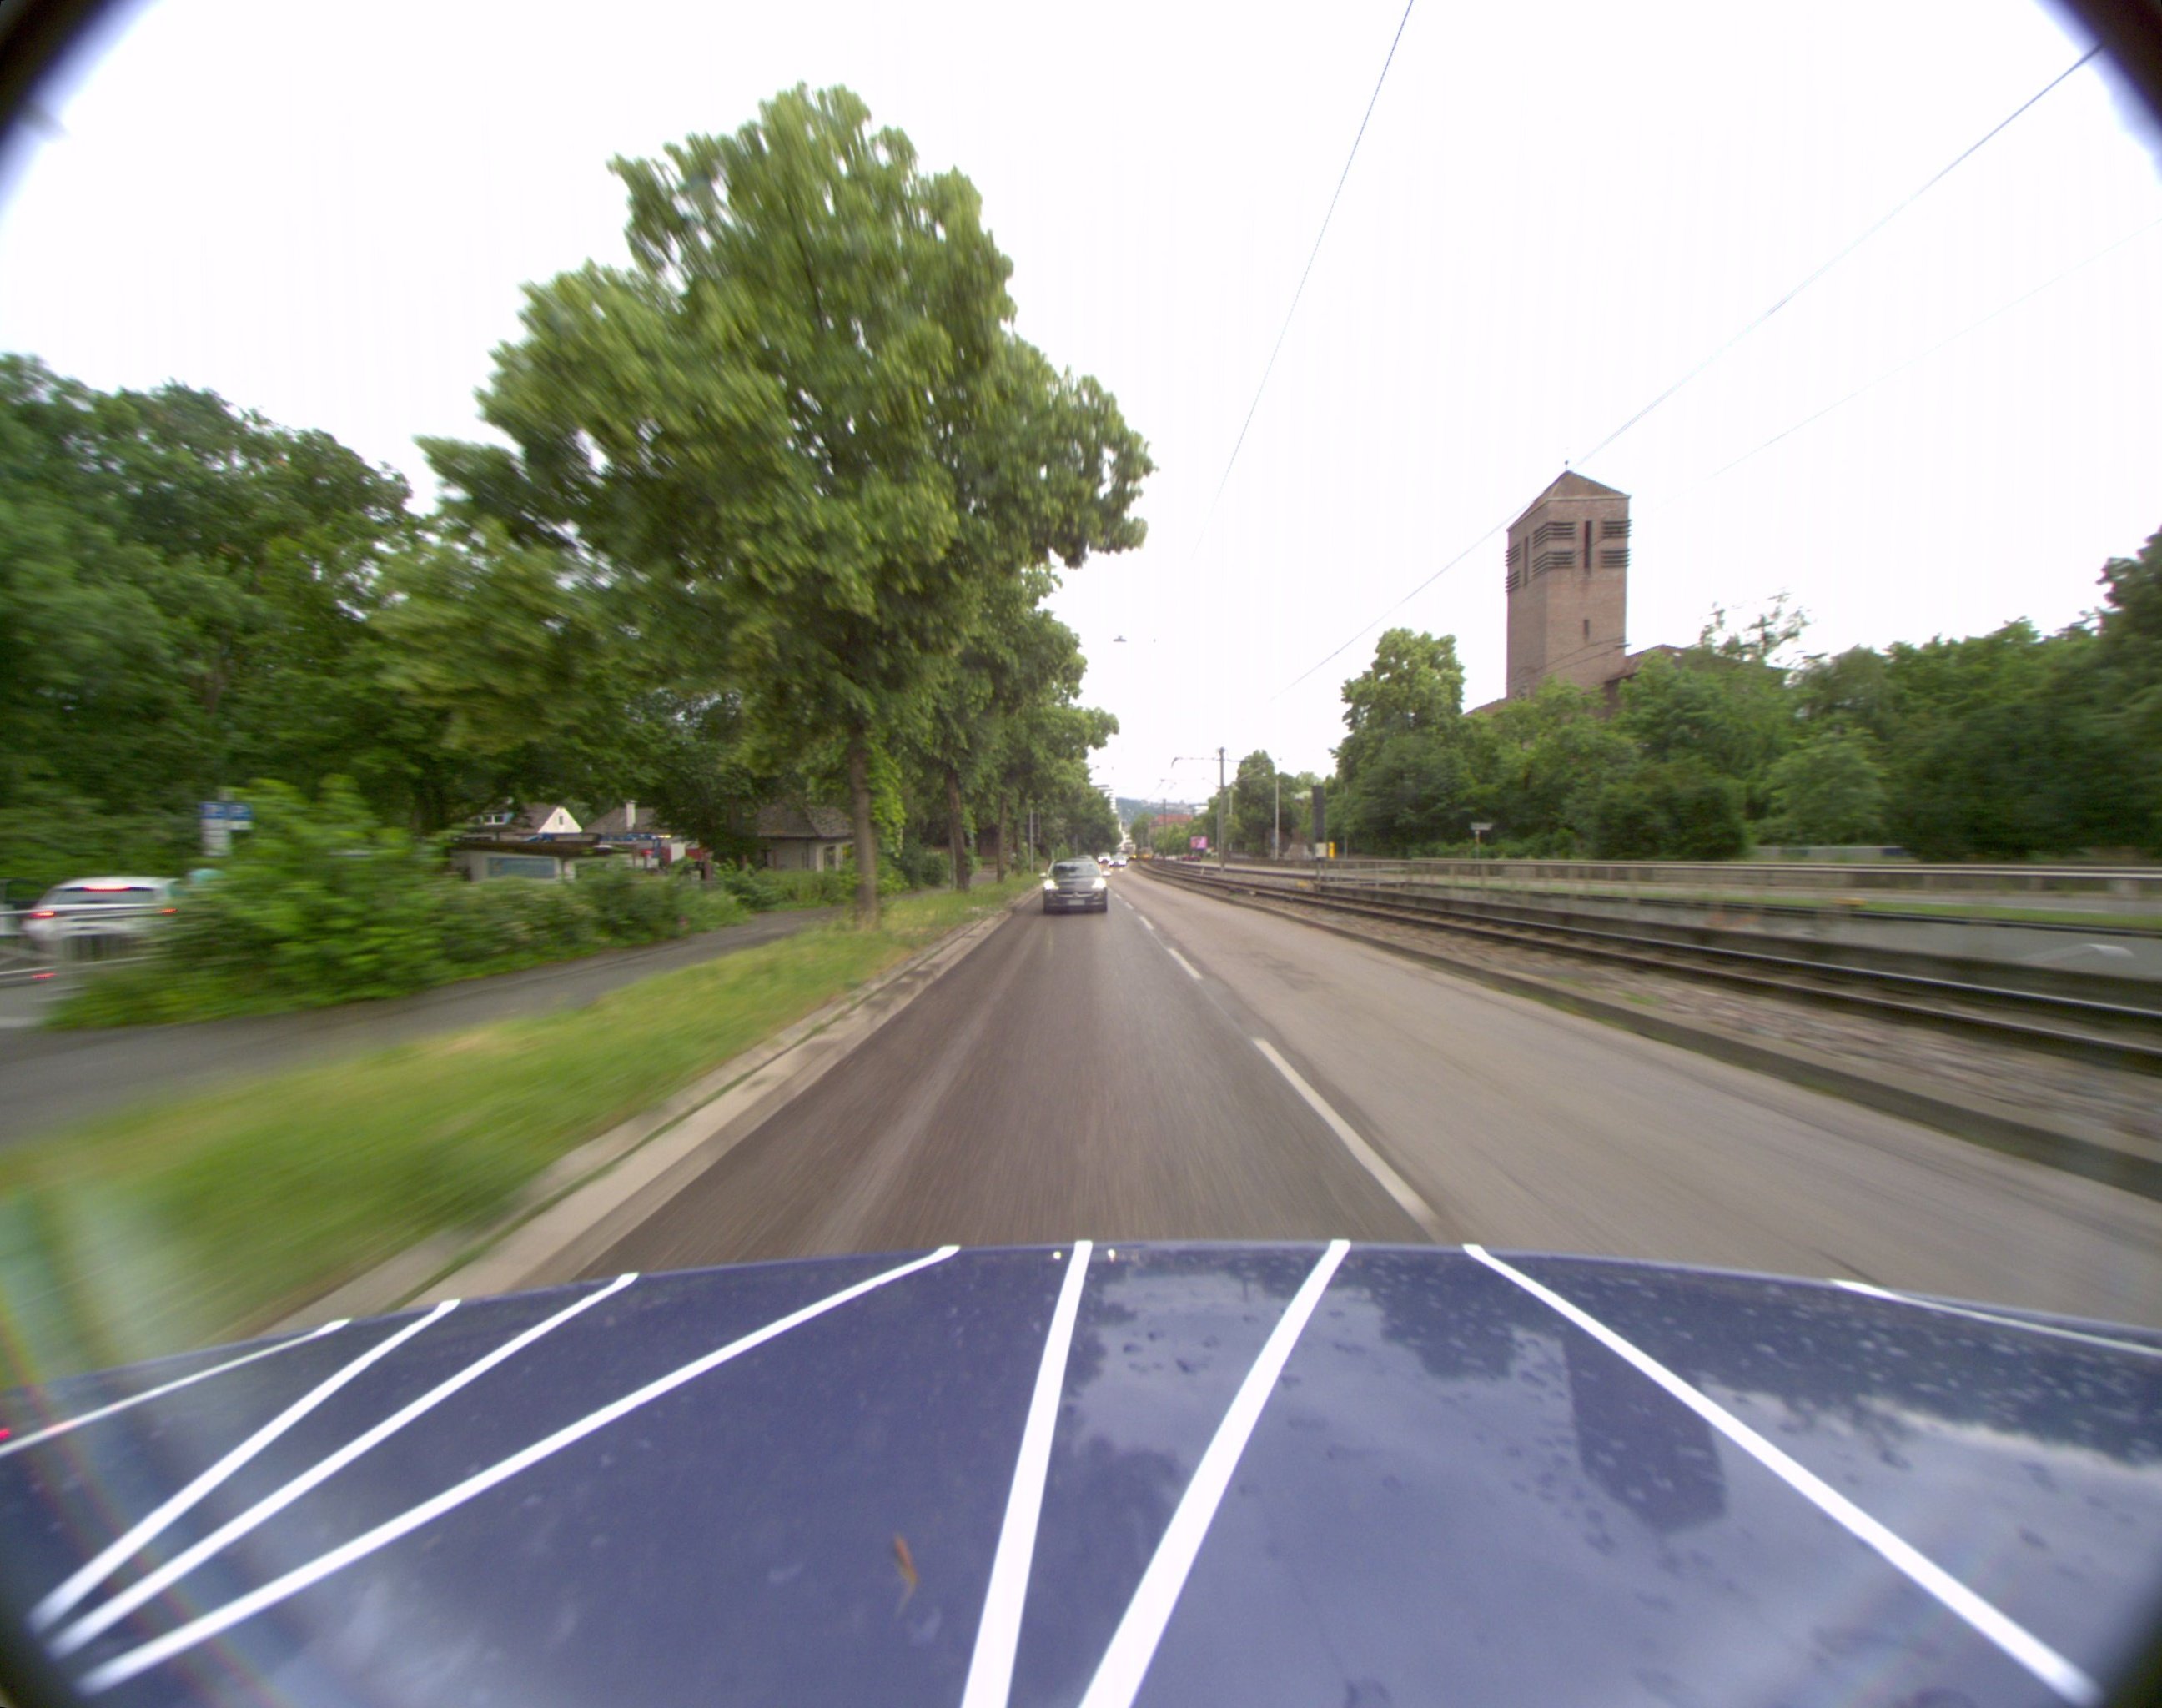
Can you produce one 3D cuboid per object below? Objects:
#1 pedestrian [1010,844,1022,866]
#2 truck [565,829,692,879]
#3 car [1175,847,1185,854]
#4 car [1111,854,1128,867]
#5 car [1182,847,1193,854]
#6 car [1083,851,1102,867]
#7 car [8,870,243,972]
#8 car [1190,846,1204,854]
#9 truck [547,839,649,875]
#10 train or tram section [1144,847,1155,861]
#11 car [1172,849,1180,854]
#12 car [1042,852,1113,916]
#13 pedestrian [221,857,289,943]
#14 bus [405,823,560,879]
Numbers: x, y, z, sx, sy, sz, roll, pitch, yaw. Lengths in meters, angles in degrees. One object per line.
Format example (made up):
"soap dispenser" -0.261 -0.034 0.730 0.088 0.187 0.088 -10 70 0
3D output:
"pedestrian" -5.351 0.073 62.965 0.856 1.843 0.737 0 1 4
"truck" -27.906 -0.044 47.214 2.054 2.851 6.617 0 1 29
"car" 24.051 -0.801 185.093 1.998 1.634 4.412 1 0 2
"car" 4.560 0.762 90.306 1.768 1.502 4.342 -1 0 5
"car" 23.775 -0.830 169.566 1.998 1.634 4.525 1 0 2
"car" 1.116 0.485 76.121 1.769 1.502 4.340 -1 0 0
"car" -18.596 1.170 15.085 2.004 1.570 4.637 -2 1 -40
"car" 21.887 -0.705 143.648 1.970 1.433 4.321 0 1 1
"truck" -33.129 0.199 52.250 5.409 2.168 2.221 -3 0 -4
"train or tram section" 20.149 0.009 224.970 2.834 3.953 17.880 -1 0 3
"car" 25.345 -0.672 202.903 1.751 1.459 3.985 2 0 2
"car" -0.044 0.748 21.376 1.746 1.544 4.494 -2 0 1
"pedestrian" -17.758 0.965 16.363 0.898 1.761 0.941 0 2 -41
"bus" -31.964 -0.174 41.049 2.256 2.685 7.169 -1 0 4
